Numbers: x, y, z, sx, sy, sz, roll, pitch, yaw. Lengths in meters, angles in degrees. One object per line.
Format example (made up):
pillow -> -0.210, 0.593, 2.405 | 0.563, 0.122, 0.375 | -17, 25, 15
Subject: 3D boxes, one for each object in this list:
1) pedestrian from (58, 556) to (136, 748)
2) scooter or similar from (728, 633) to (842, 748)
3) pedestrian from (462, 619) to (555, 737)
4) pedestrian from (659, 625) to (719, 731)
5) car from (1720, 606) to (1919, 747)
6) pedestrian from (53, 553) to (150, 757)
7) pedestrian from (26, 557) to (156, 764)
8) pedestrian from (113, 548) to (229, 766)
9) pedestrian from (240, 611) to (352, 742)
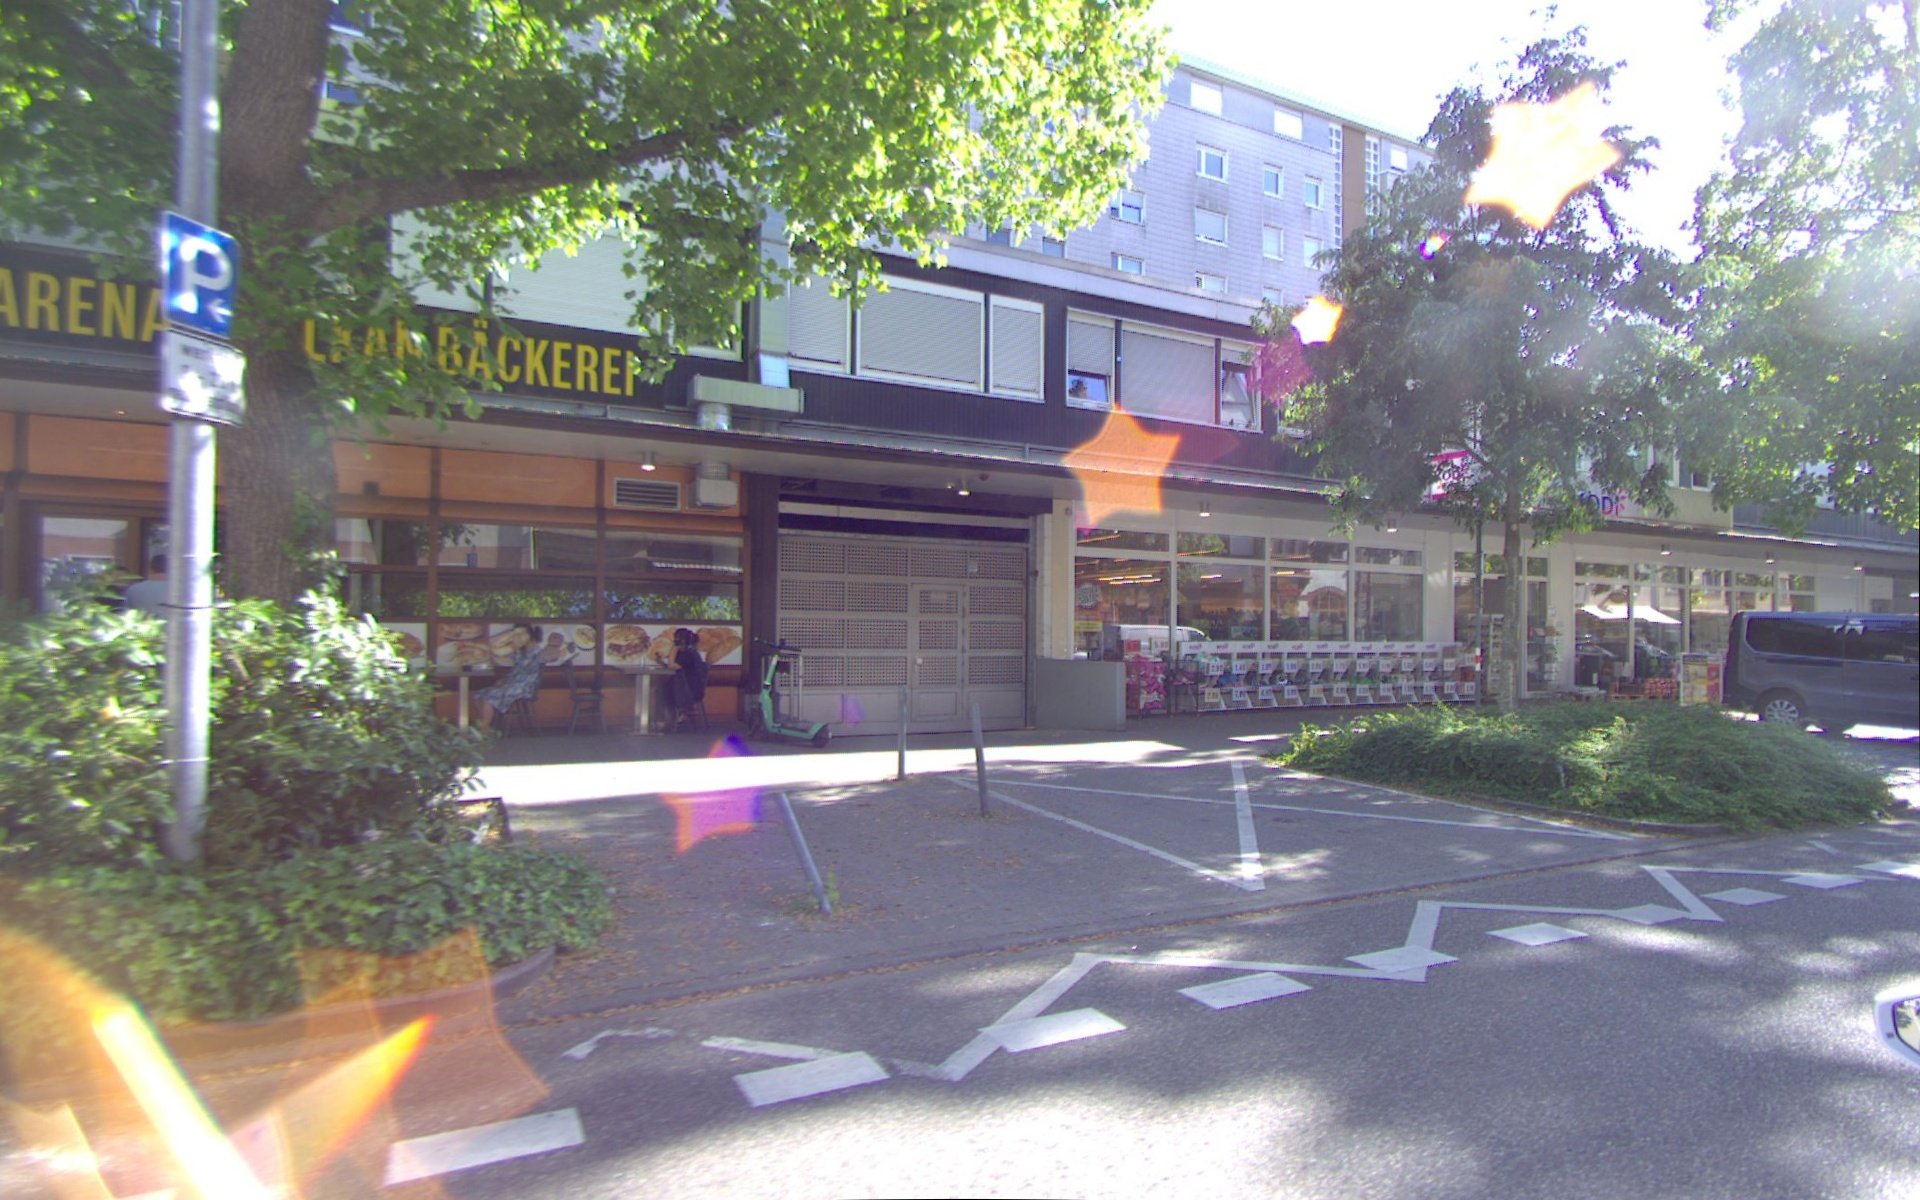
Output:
pedestrian -> -8.933, 0.529, 10.409 | 0.486, 1.929, 0.451 | 1, -1, -29
scooter or similar -> -2.070, 1.038, 11.828 | 1.294, 1.239, 0.457 | 2, 0, 30
pedestrian -> -5.149, 0.866, 11.455 | 0.888, 1.280, 0.605 | 1, -1, -30
pedestrian -> -3.308, 0.939, 12.256 | 0.629, 1.257, 0.326 | 1, -1, -30
car -> 14.717, 1.137, 14.811 | 1.989, 2.000, 5.273 | 1, 0, -27
pedestrian -> -8.441, 0.525, 9.899 | 0.572, 1.929, 0.591 | 1, -1, -29
pedestrian -> -7.528, 0.516, 8.725 | 0.576, 1.734, 0.600 | 1, -1, -5
pedestrian -> -7.356, 0.526, 9.385 | 0.576, 1.960, 0.600 | 1, -1, -5
pedestrian -> -7.154, 0.803, 10.863 | 0.942, 1.359, 0.561 | 1, -1, -29
